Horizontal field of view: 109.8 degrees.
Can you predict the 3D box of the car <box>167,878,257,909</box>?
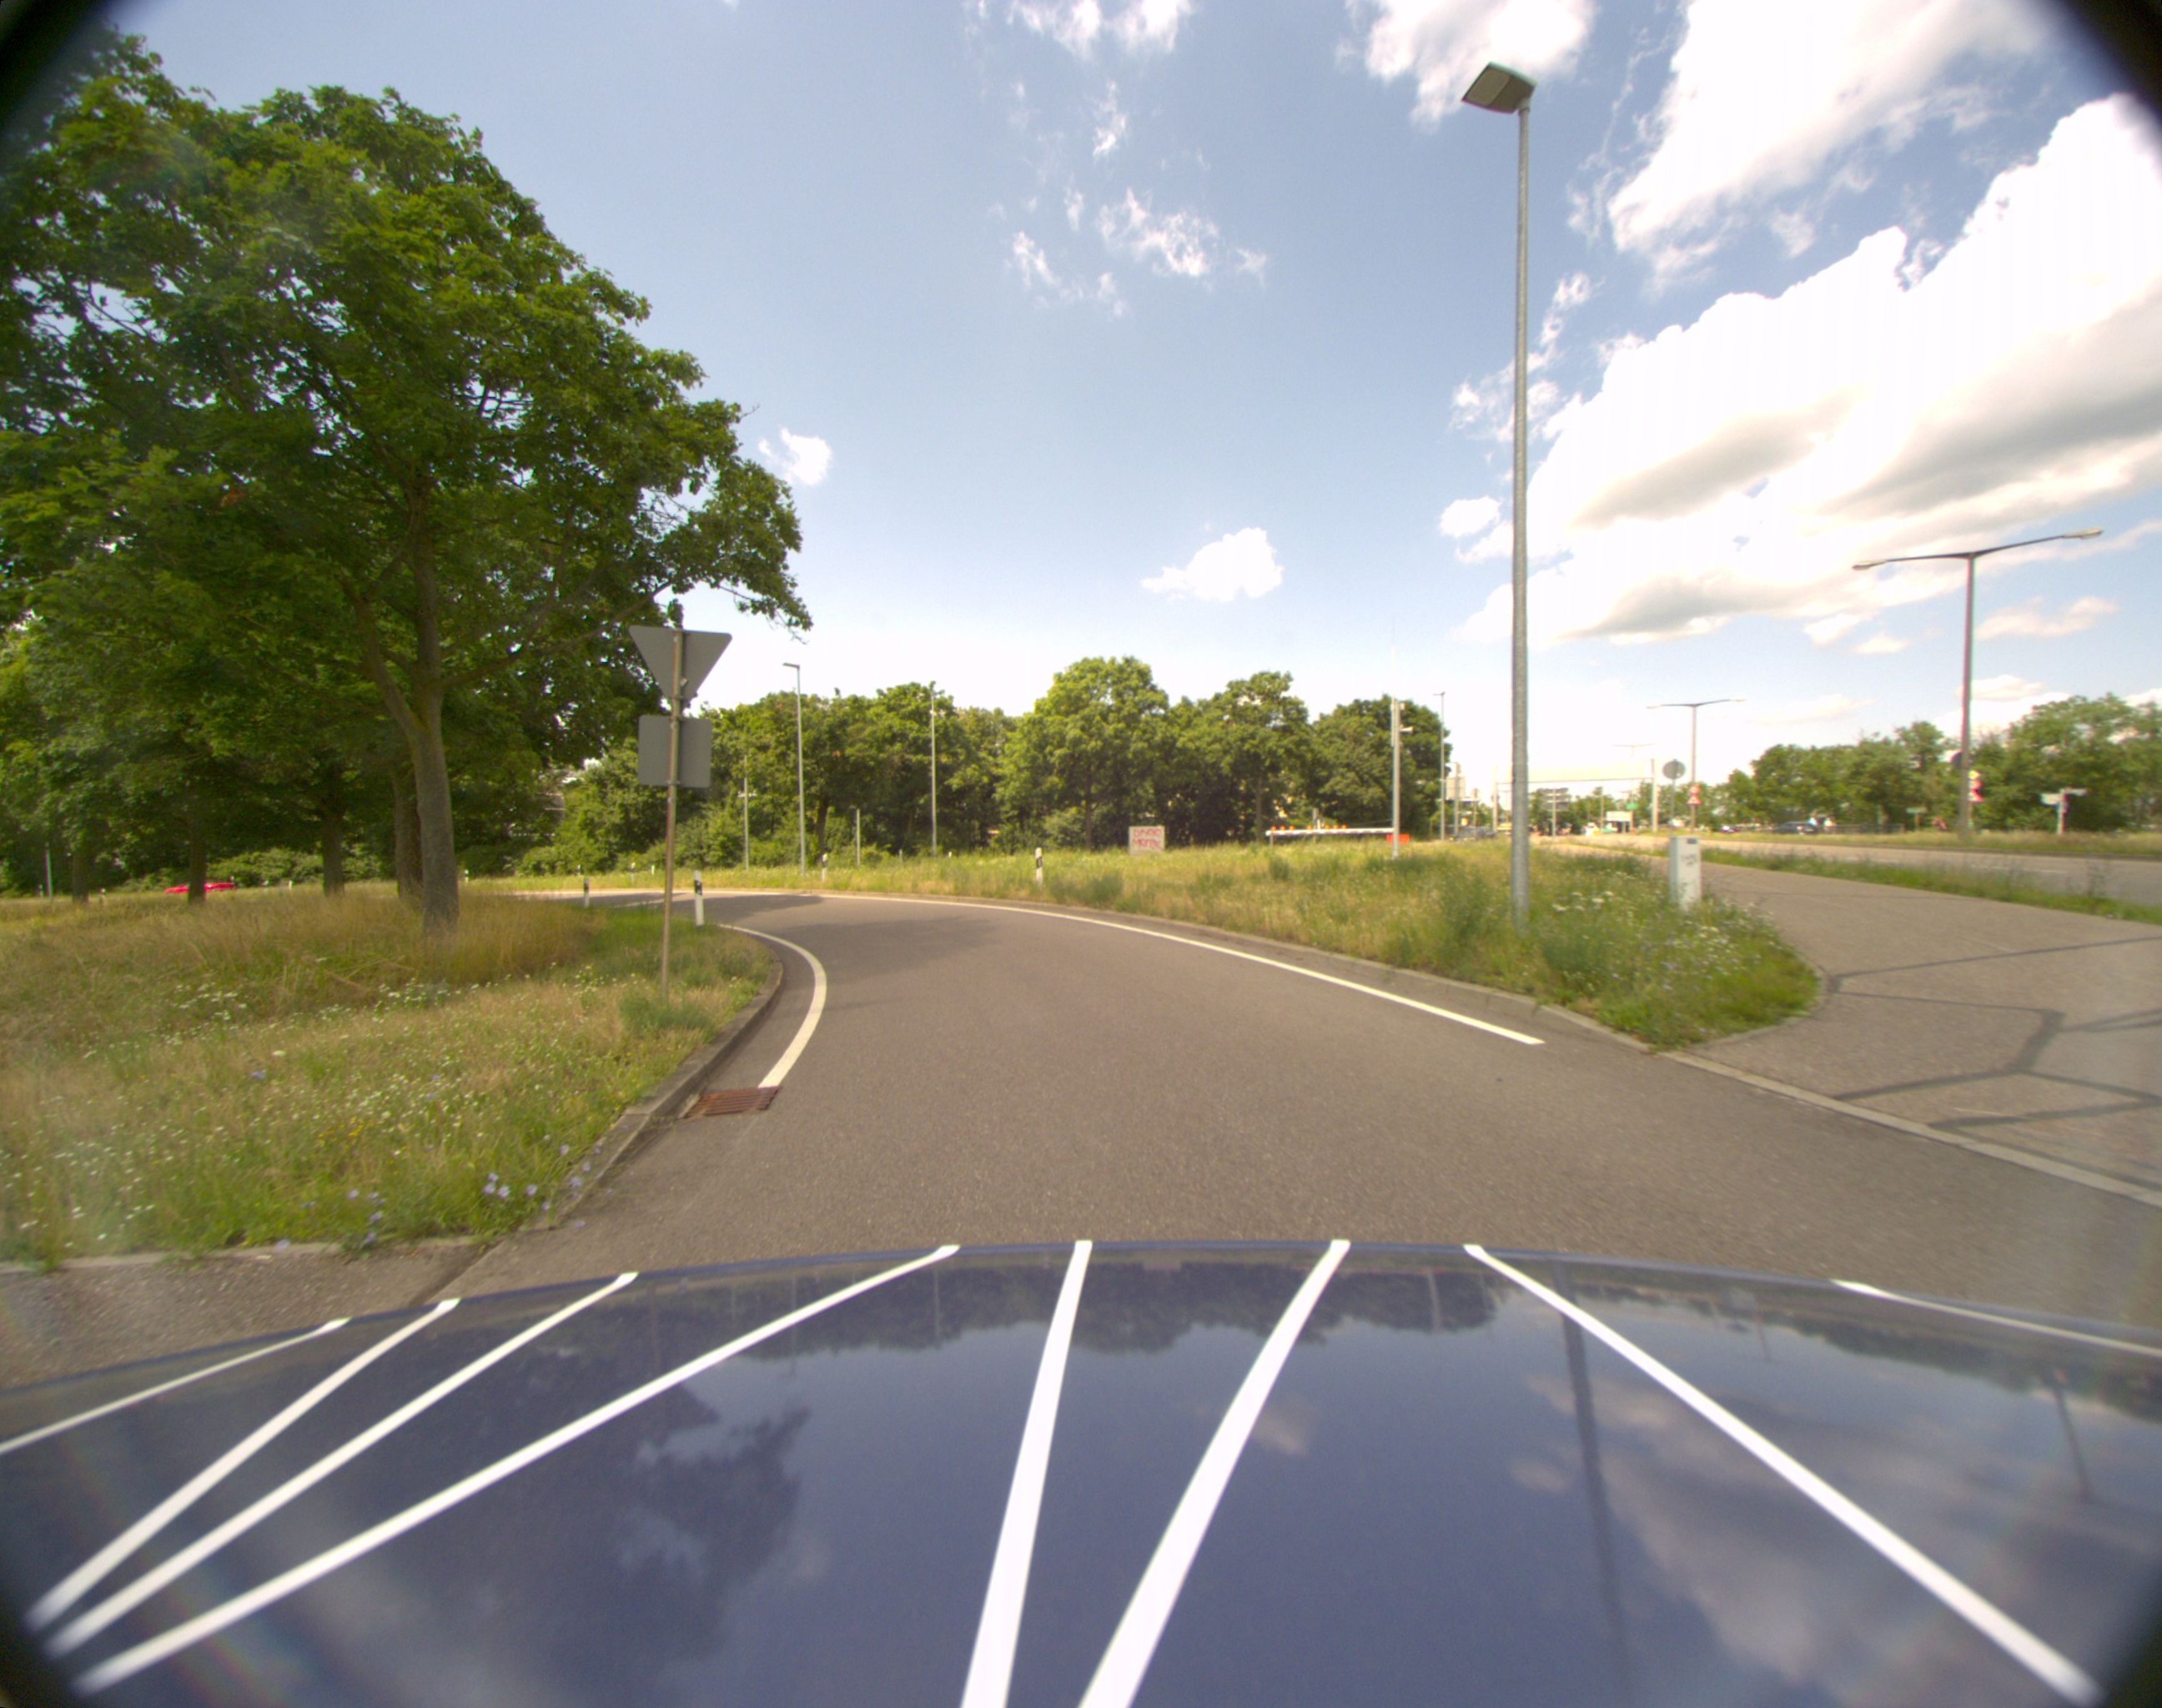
[{"bbox_3d":[-64.257,2.899,56.237,3.998,2.002,1.999,-2,1,-4],"label":"car"}]
